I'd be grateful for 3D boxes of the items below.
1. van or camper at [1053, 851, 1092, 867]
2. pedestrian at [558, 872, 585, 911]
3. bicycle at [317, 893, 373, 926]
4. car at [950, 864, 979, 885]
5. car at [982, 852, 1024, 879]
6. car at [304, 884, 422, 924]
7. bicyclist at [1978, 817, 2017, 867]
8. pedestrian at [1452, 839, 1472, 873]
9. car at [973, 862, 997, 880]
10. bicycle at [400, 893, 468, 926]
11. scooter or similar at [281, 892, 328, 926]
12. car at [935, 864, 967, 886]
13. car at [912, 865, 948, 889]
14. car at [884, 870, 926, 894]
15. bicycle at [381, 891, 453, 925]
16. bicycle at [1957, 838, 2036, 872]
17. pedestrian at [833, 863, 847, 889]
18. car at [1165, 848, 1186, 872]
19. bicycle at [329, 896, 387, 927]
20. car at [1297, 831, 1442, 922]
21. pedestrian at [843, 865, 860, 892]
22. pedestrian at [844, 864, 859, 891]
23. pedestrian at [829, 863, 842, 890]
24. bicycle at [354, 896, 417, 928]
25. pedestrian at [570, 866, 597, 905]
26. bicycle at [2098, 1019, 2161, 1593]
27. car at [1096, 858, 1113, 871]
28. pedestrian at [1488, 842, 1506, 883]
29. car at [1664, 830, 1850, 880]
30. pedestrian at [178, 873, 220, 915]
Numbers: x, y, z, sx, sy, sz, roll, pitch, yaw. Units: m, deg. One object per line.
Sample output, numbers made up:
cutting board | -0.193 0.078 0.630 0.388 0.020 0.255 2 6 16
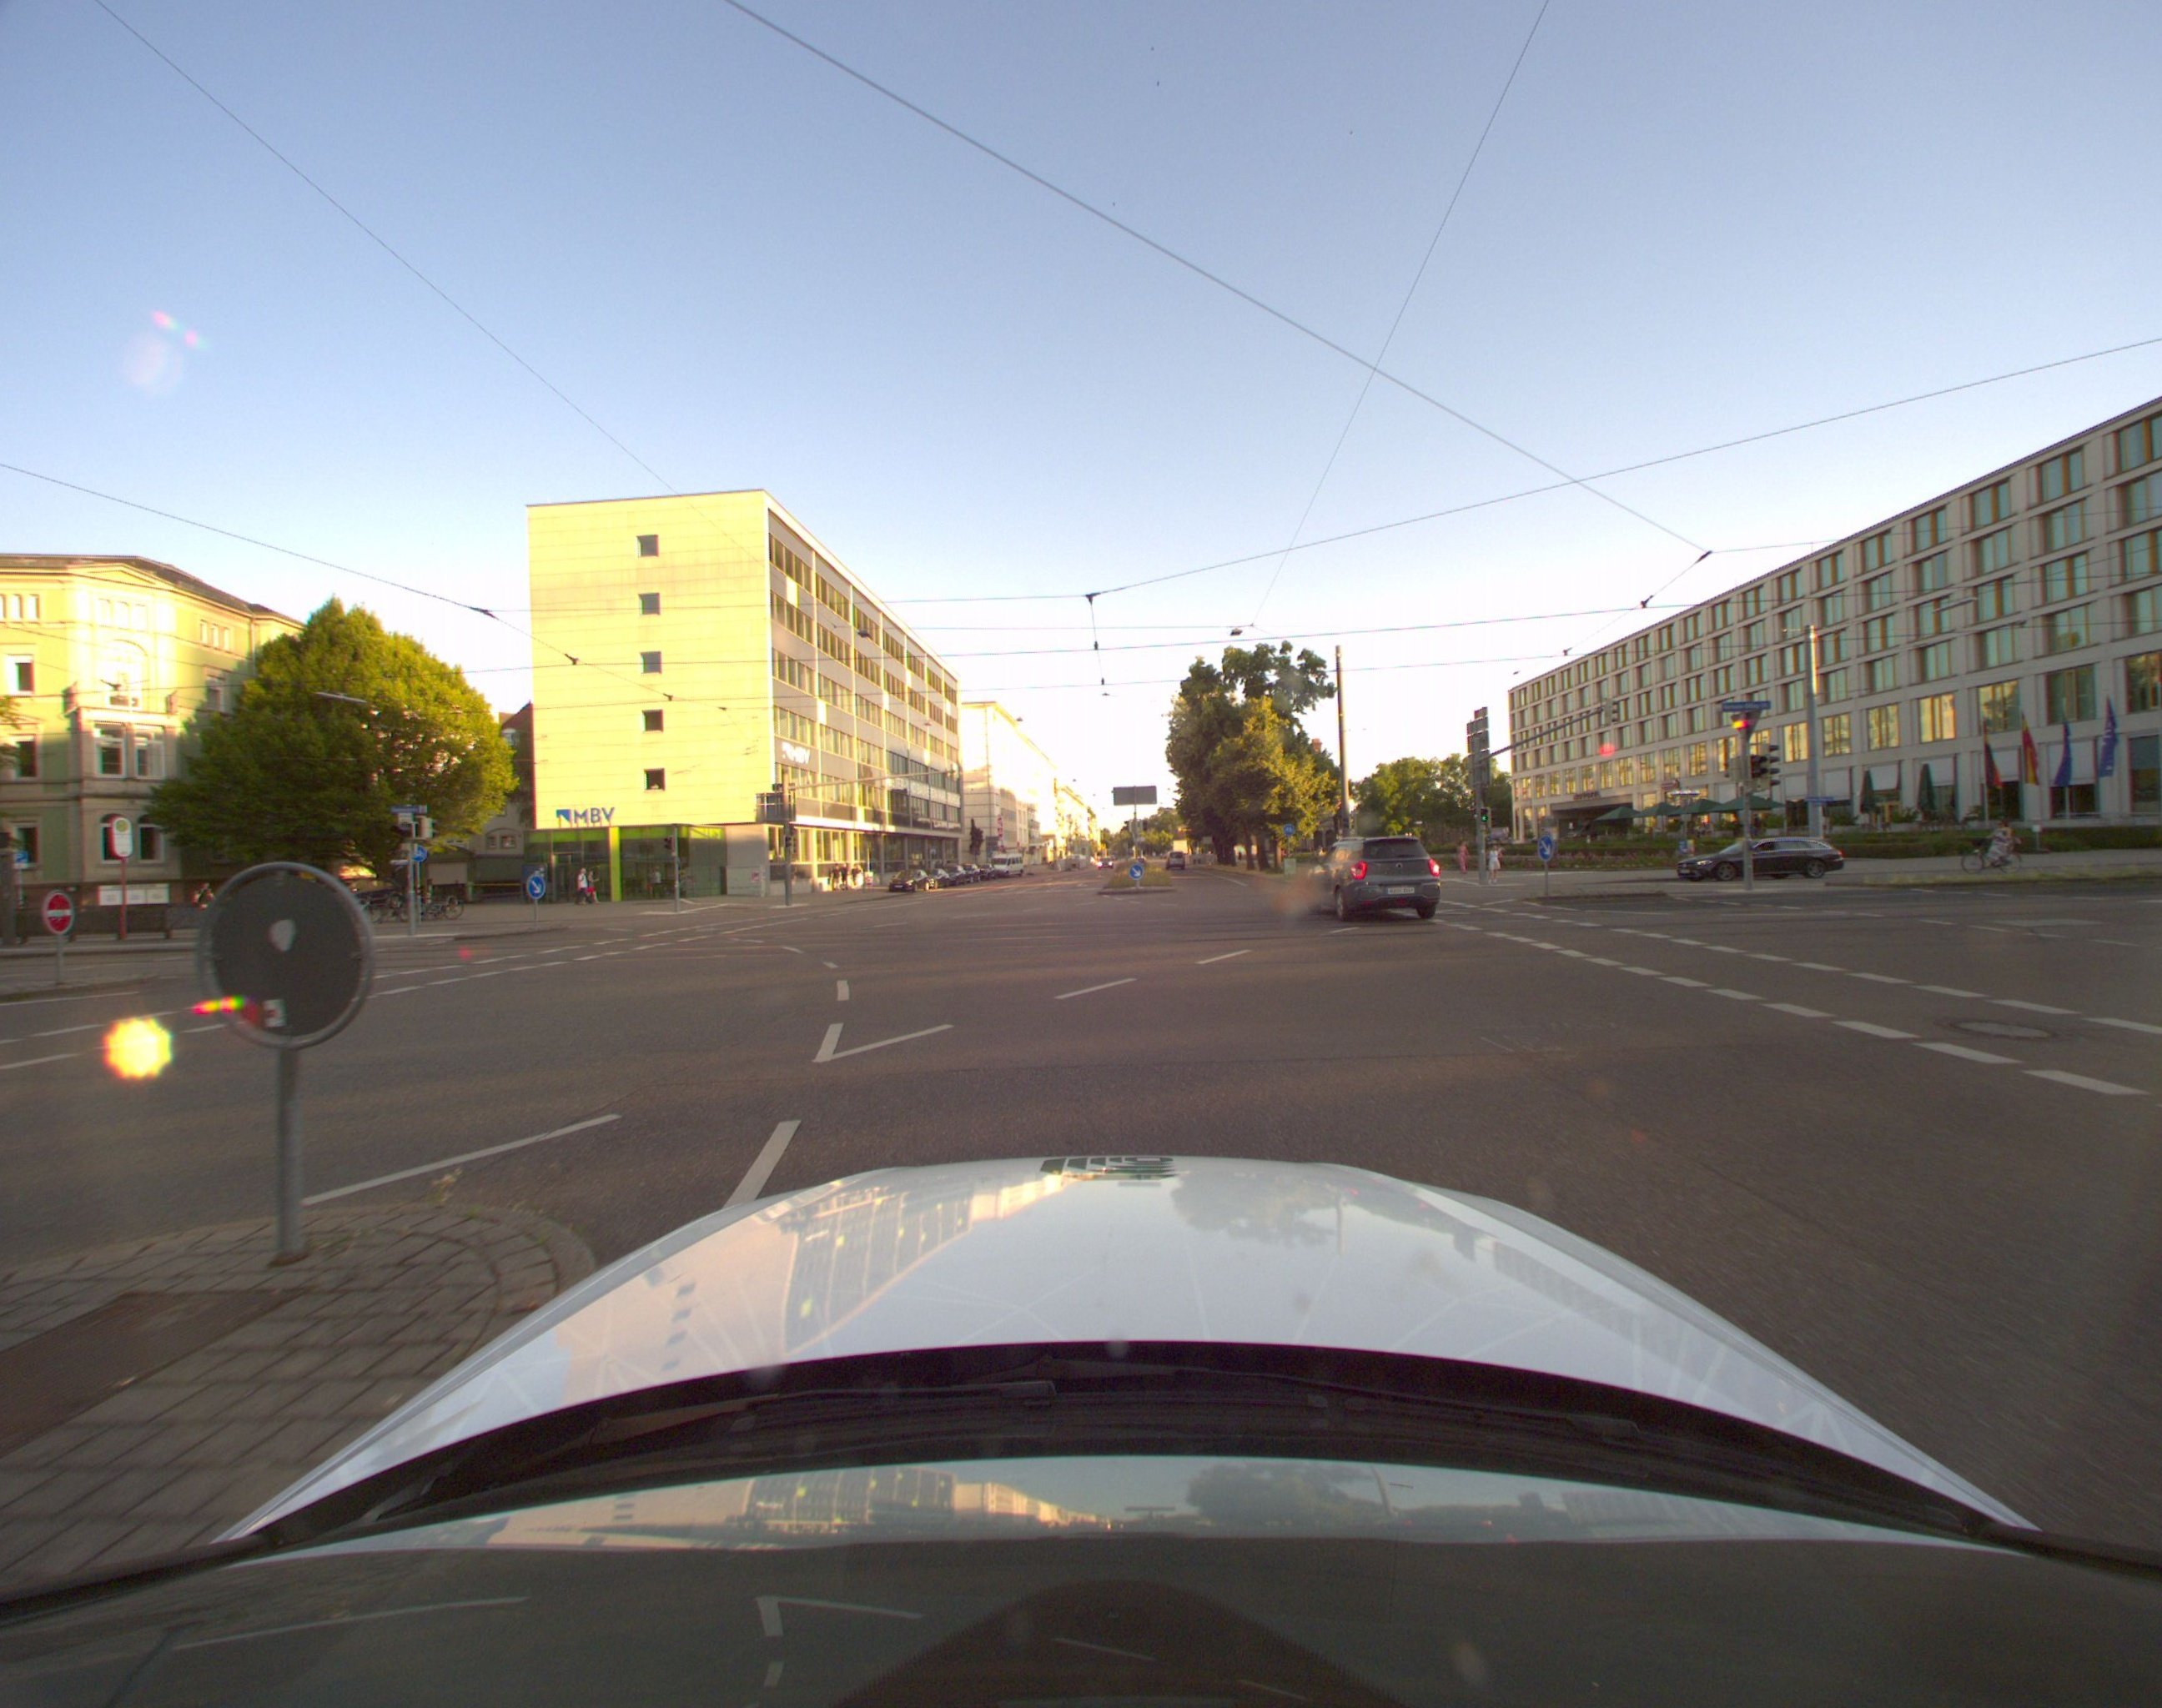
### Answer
van or camper | -1.249 0.774 125.909 5.537 2.166 2.225 -4 -1 -26
pedestrian | -23.638 1.732 37.812 0.729 1.768 0.709 -2 -1 4
bicycle | -29.297 2.201 32.451 0.738 1.163 1.533 -2 -1 6
car | -10.057 1.756 70.662 1.685 1.665 3.872 1 0 4
car | -7.892 1.134 83.087 2.221 2.629 5.876 1 0 15
car | -33.724 2.321 38.427 1.789 1.574 4.001 -3 0 4
bicyclist | 30.200 -0.392 26.851 0.591 1.635 0.543 -2 -1 10
pedestrian | 18.824 0.080 40.250 0.717 1.626 0.743 -3 -1 36
car | -9.033 1.577 76.768 1.492 1.665 3.872 1 0 4
bicycle | -24.808 2.108 31.265 0.735 1.074 1.876 -3 0 22
scooter or similar | -30.682 2.159 32.195 0.586 1.225 1.205 -2 1 5
car | -10.410 1.661 65.363 1.685 1.665 3.872 1 0 4
car | -11.062 1.662 59.860 1.685 1.665 3.872 1 0 4
car | -11.622 1.814 54.026 1.685 1.411 3.872 1 0 4
bicycle | -25.800 2.080 31.697 0.738 1.132 2.242 -2 1 6
bicycle | 30.169 0.043 26.857 1.744 1.051 0.542 -2 -1 9
pedestrian | -16.404 1.497 55.480 0.651 1.768 0.646 -2 -1 0
car | 9.484 0.582 81.895 1.874 2.238 3.917 -3 0 6
bicycle | -27.954 2.218 31.532 0.738 1.074 1.559 -2 -1 6
car | 5.806 0.420 16.914 1.686 1.605 4.093 -2 0 3
pedestrian | -15.301 1.620 54.418 0.838 1.768 0.786 -2 -1 0
pedestrian | -15.642 1.578 55.488 0.736 1.768 0.673 -2 -1 0
pedestrian | -16.488 1.491 54.710 0.651 1.768 0.646 -2 -1 0
bicycle | -26.726 2.224 31.328 0.738 1.074 1.764 -2 -1 6
pedestrian | -23.549 1.477 38.577 0.741 1.768 0.709 -2 -1 4
bicycle | 2.370 0.883 0.618 0.605 1.114 2.087 -2 0 2
car | 2.939 1.278 99.376 1.684 1.420 4.180 -3 0 6
pedestrian | 17.072 0.347 33.430 0.531 1.626 0.631 -3 -1 21
car | 24.095 0.062 29.219 4.763 1.523 1.823 -3 -2 11
pedestrian | -38.497 1.721 35.551 0.987 1.768 0.706 -2 -1 -11
